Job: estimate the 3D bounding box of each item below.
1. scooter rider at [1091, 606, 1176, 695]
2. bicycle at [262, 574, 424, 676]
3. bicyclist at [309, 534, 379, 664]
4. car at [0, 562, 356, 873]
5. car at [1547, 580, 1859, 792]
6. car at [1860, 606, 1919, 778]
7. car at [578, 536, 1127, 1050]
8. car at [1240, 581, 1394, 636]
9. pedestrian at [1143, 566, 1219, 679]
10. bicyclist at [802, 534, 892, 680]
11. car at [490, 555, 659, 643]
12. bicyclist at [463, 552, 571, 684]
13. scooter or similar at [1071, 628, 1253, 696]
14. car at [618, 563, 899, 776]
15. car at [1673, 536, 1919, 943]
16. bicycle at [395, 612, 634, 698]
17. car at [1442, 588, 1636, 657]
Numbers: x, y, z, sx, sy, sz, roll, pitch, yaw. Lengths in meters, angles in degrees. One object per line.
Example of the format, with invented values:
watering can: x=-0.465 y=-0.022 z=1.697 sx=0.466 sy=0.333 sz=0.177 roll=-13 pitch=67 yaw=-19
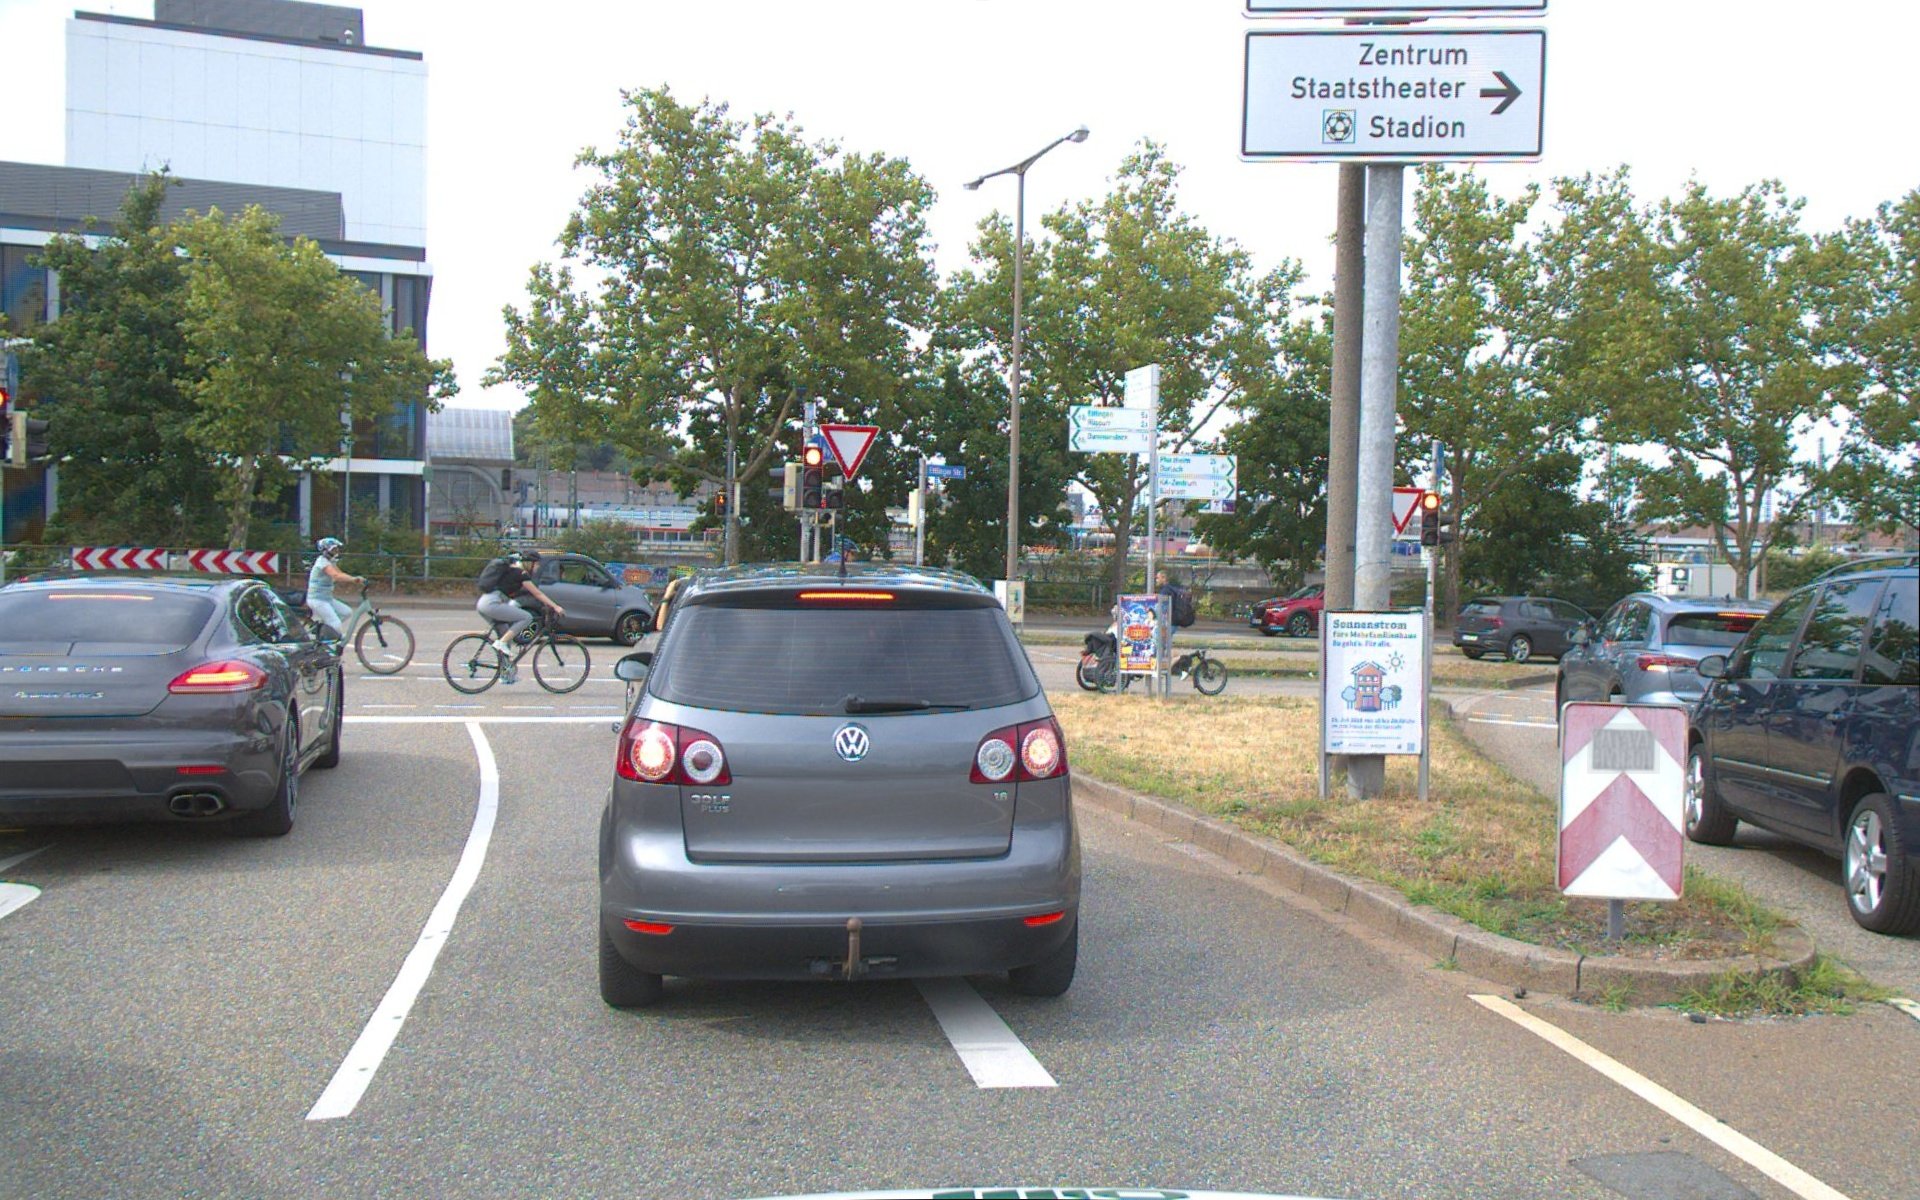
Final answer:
scooter rider: x=2.347 y=0.680 z=22.462 sx=0.899 sy=1.157 sz=0.805 roll=1 pitch=1 yaw=-17
bicycle: x=-7.754 y=0.313 z=20.865 sx=1.871 sy=1.231 sz=0.640 roll=1 pitch=1 yaw=-18
bicyclist: x=-7.754 y=-0.021 z=20.843 sx=0.767 sy=1.608 sz=0.651 roll=1 pitch=1 yaw=-18
car: x=-4.852 y=0.514 z=10.109 sx=1.789 sy=1.438 sz=4.756 roll=1 pitch=1 yaw=-16
car: x=6.731 y=0.697 z=15.440 sx=1.655 sy=1.613 sz=4.160 roll=3 pitch=0 yaw=11
car: x=10.137 y=0.944 z=15.478 sx=1.713 sy=1.671 sz=4.141 roll=3 pitch=0 yaw=10
car: x=-0.612 y=0.580 z=7.209 sx=1.709 sy=1.573 sz=4.074 roll=1 pitch=0 yaw=-9
car: x=9.860 y=0.234 z=45.683 sx=3.894 sy=1.473 sz=1.692 roll=1 pitch=1 yaw=-21
pedestrian: x=3.541 y=0.342 z=26.442 sx=1.025 sy=1.740 sz=0.854 roll=2 pitch=1 yaw=17
bicyclist: x=-1.350 y=0.078 z=19.594 sx=0.867 sy=1.685 sz=0.807 roll=1 pitch=1 yaw=-19
car: x=-6.724 y=-0.019 z=28.801 sx=2.672 sy=1.447 sz=1.490 roll=1 pitch=1 yaw=-22
bicyclist: x=-5.038 y=0.190 z=18.815 sx=1.099 sy=1.461 sz=0.643 roll=0 pitch=2 yaw=-24
scooter or similar: x=2.758 y=0.846 z=22.605 sx=2.341 sy=0.864 sz=0.805 roll=1 pitch=1 yaw=-17
car: x=-1.840 y=0.476 z=13.908 sx=1.713 sy=1.508 sz=4.064 roll=1 pitch=0 yaw=-16
car: x=5.259 y=0.646 z=8.680 sx=1.713 sy=1.754 sz=4.141 roll=3 pitch=0 yaw=9
bicycle: x=-5.053 y=0.611 z=18.822 sx=2.549 sy=0.905 sz=0.699 roll=1 pitch=1 yaw=-24
car: x=13.134 y=0.510 z=37.551 sx=3.996 sy=1.476 sz=1.693 roll=1 pitch=1 yaw=-20
